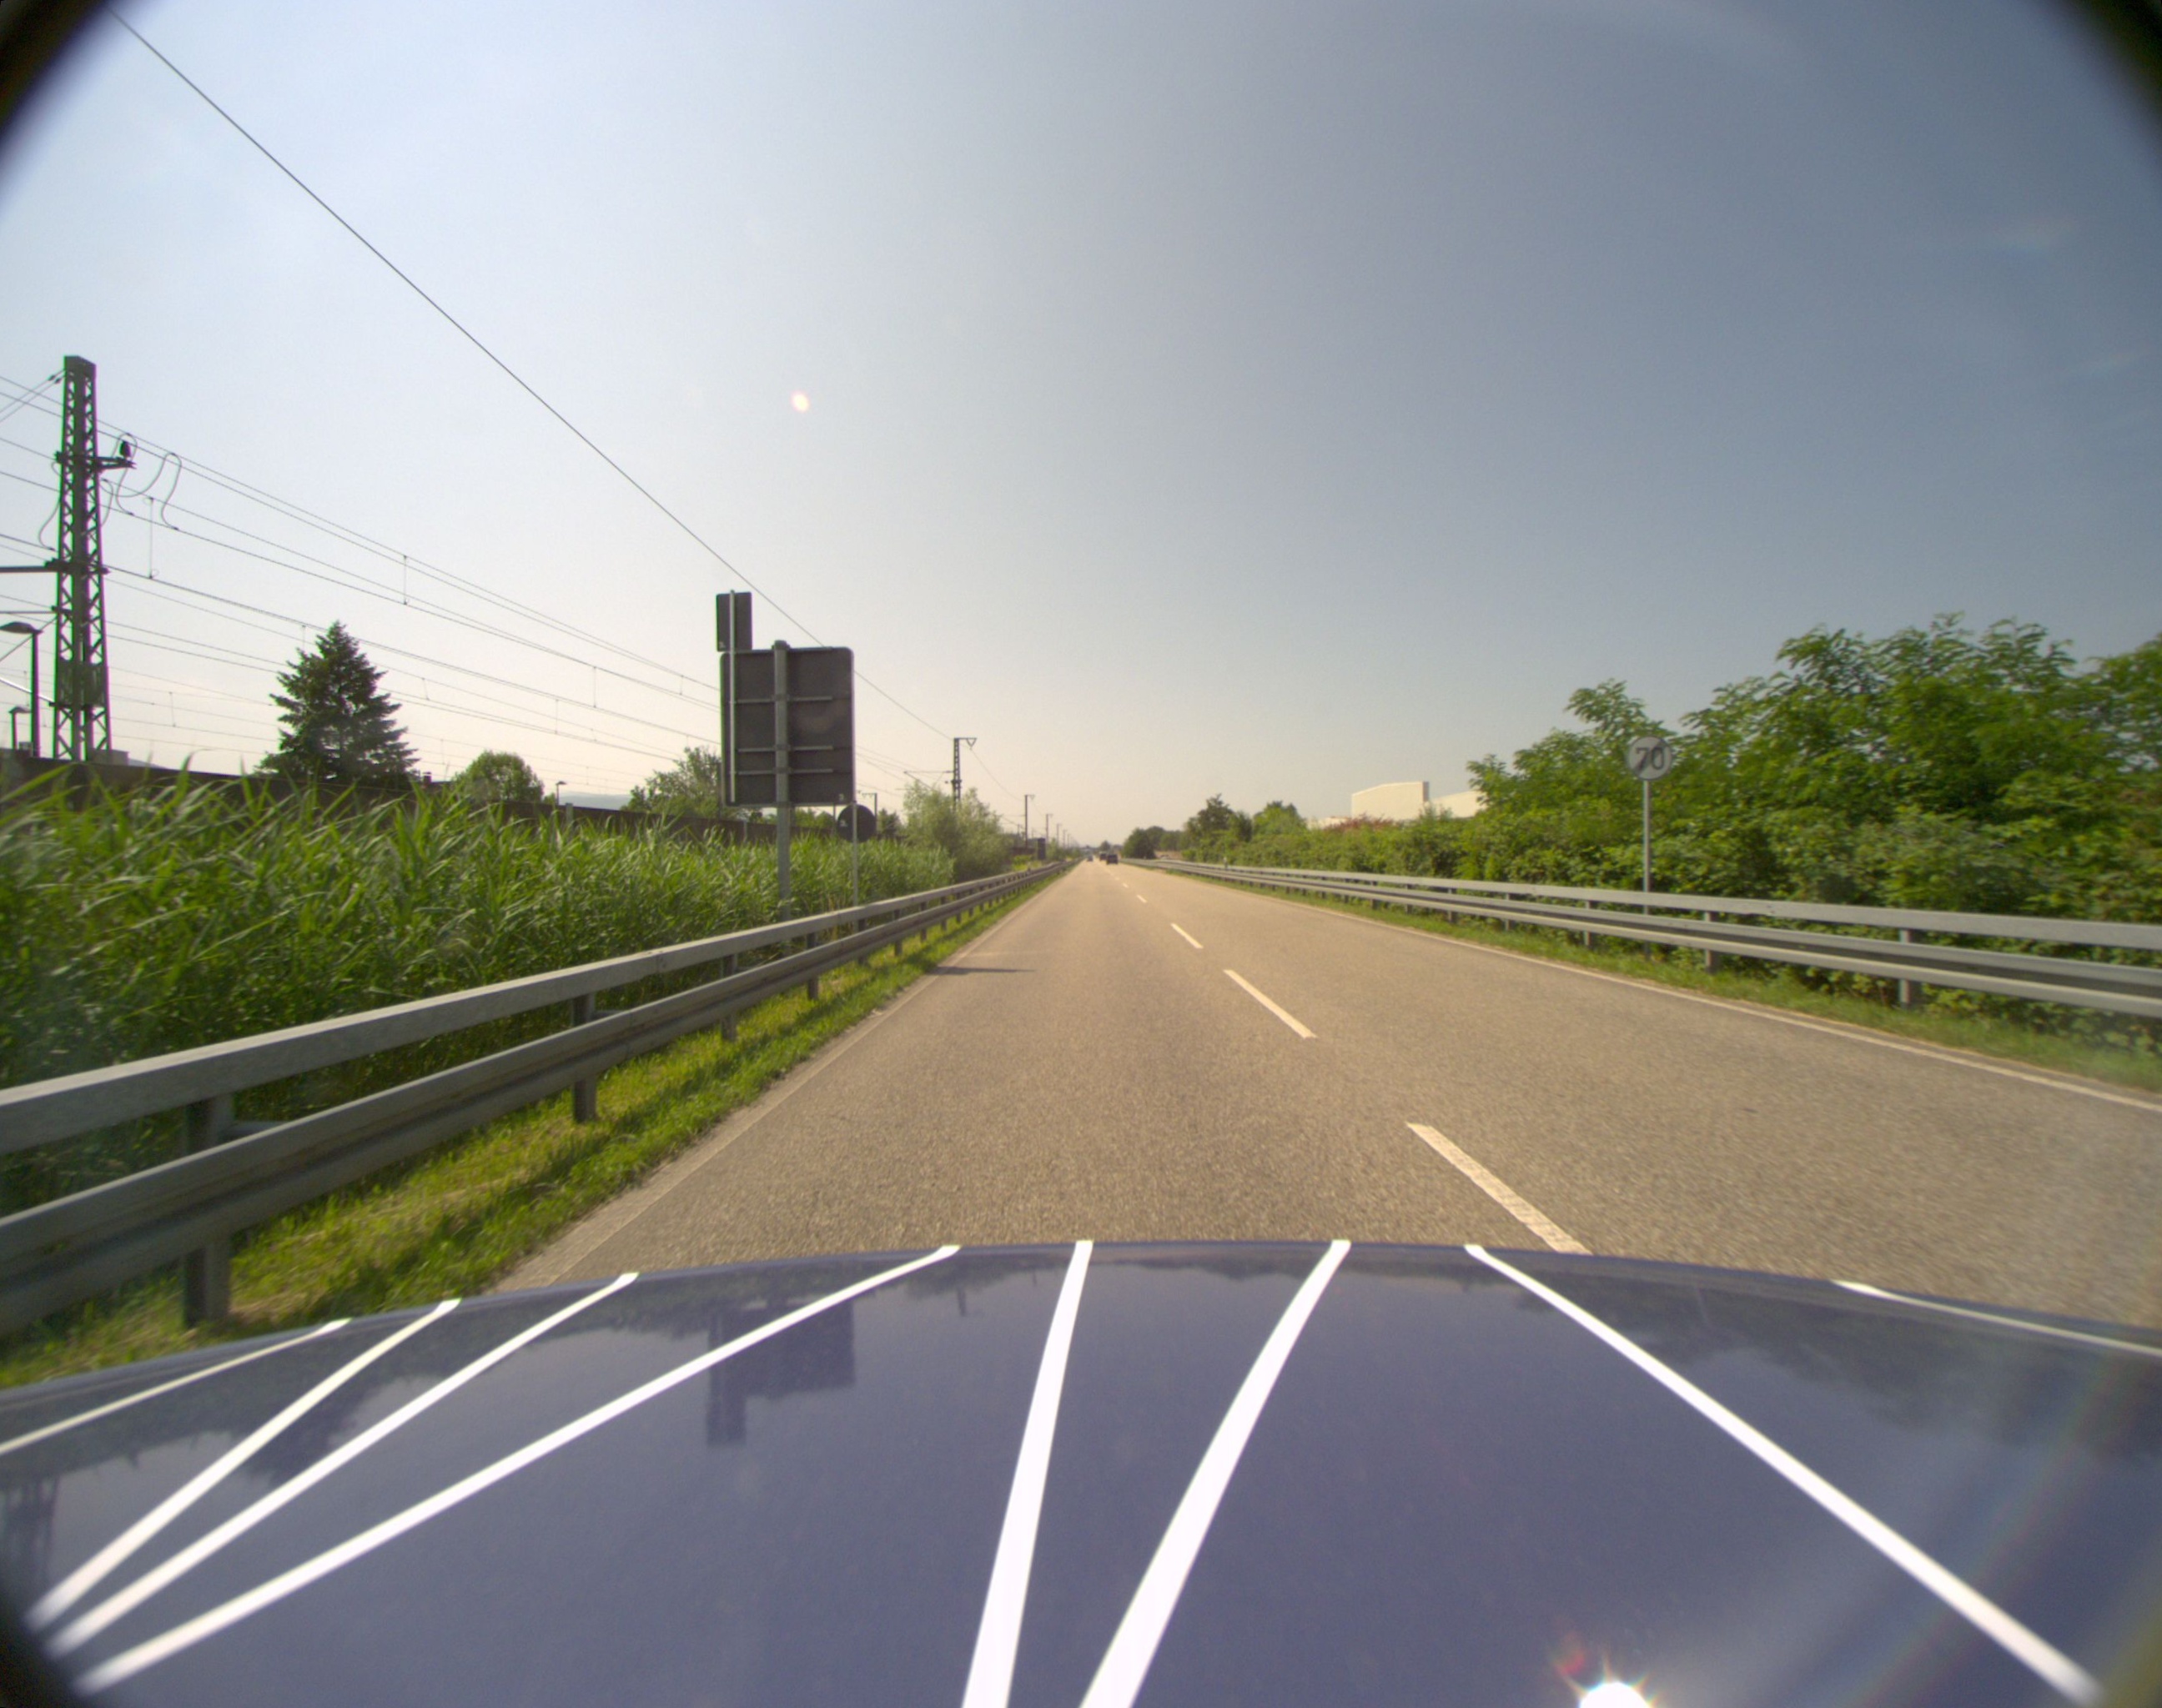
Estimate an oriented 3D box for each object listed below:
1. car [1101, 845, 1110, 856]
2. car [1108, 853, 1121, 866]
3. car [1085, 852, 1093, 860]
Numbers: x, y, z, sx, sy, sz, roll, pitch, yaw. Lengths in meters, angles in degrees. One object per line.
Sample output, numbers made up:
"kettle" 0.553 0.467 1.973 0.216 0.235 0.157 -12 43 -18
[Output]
"car" 6.669 -0.864 208.672 2.084 2.945 6.729 -2 0 1
"car" 5.596 0.880 128.645 1.898 2.002 5.369 -2 0 0
"car" 2.247 0.597 204.897 1.999 2.002 3.999 -2 0 -1
